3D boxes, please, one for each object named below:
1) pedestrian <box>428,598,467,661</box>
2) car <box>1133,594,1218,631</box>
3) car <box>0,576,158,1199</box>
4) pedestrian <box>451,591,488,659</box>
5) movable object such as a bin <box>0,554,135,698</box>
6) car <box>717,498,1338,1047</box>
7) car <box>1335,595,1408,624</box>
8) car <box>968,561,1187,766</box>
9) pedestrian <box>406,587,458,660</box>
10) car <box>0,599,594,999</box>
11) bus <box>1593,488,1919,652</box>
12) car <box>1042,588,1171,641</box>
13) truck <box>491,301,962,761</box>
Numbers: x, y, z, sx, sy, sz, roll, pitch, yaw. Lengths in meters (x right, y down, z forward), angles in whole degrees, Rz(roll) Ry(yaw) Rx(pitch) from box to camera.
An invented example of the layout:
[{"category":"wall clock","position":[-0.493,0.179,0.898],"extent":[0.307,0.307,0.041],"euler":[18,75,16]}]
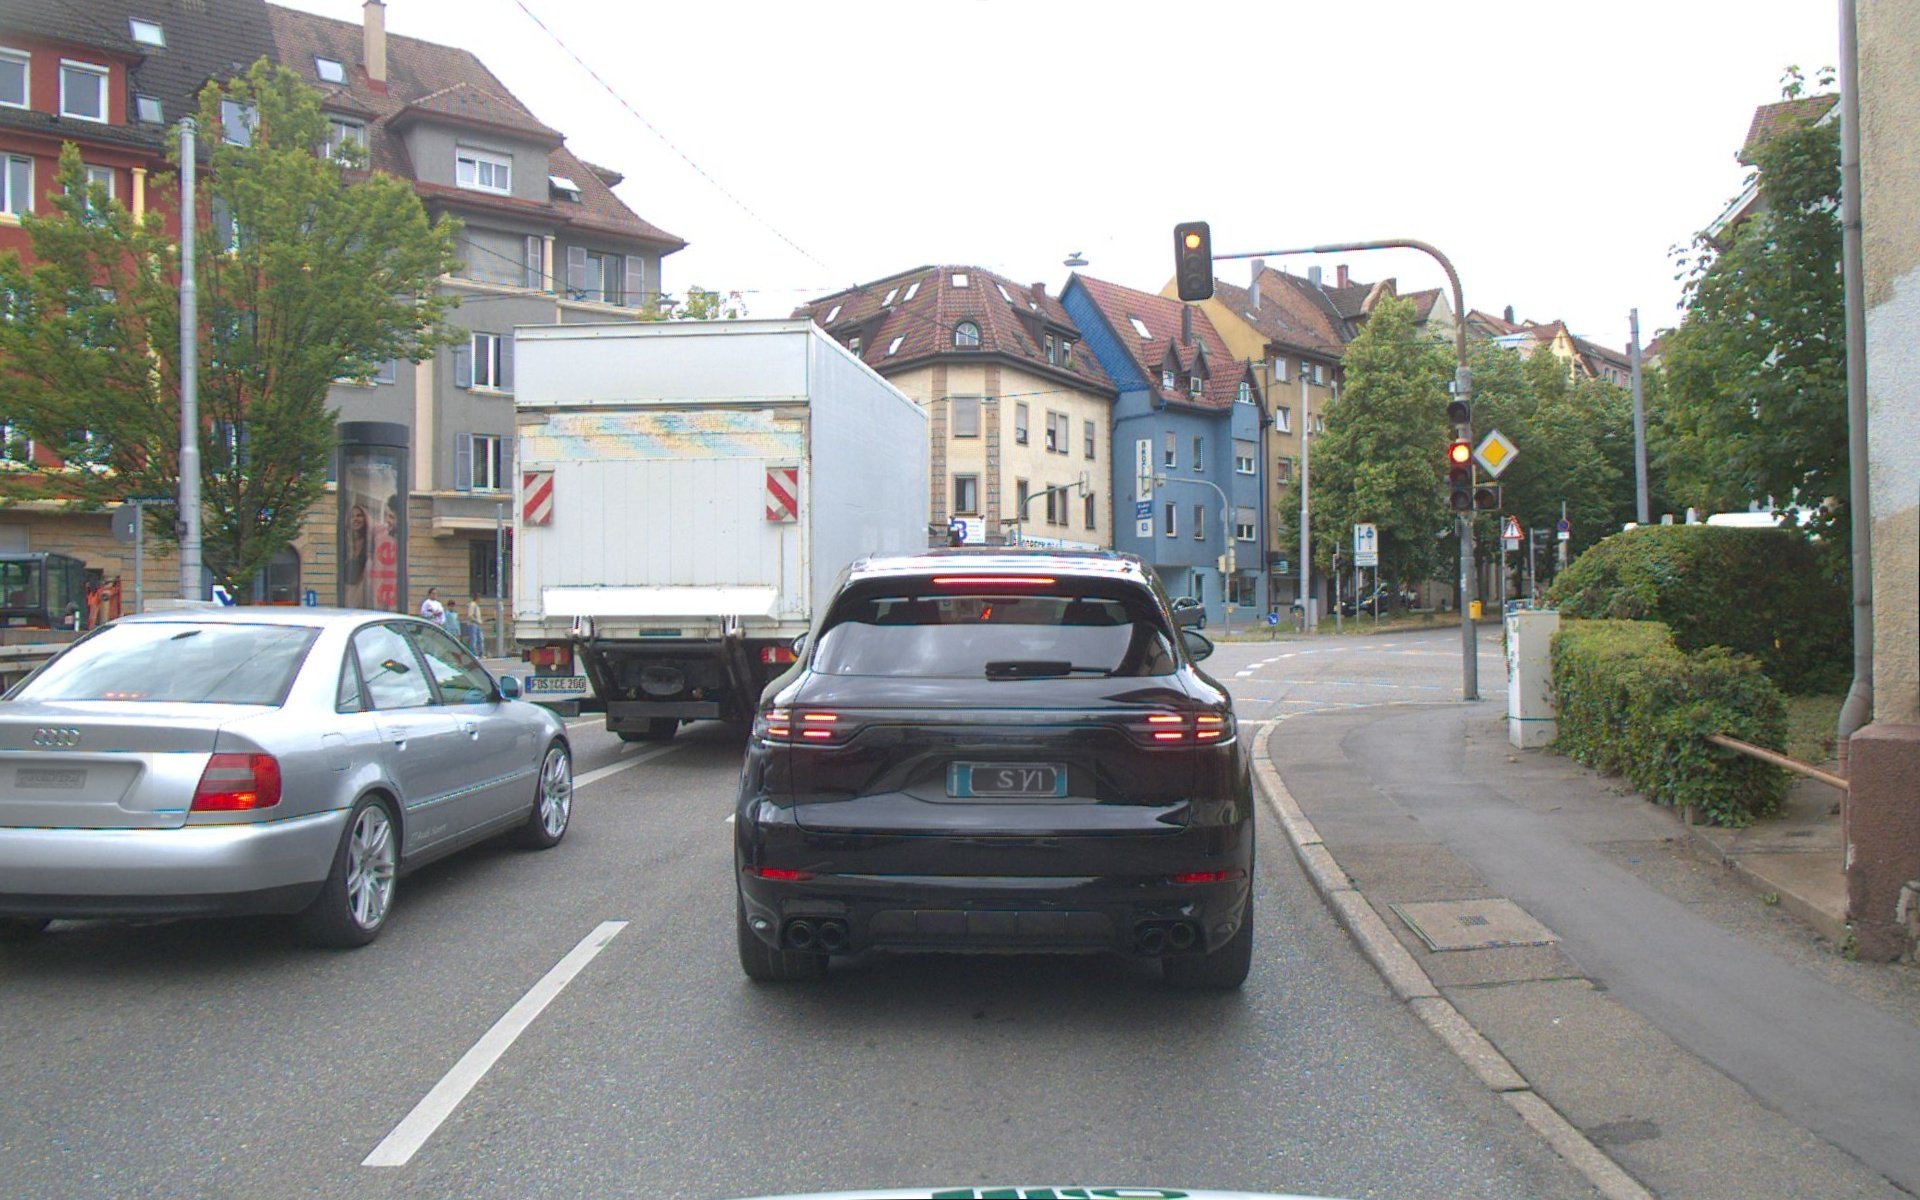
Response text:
[{"category":"pedestrian","position":[-11.403,0.650,36.810],"extent":[0.564,1.361,0.582],"euler":[-1,0,34]},{"category":"car","position":[9.352,0.559,71.556],"extent":[1.690,1.502,4.197],"euler":[0,-2,39]},{"category":"car","position":[-2.702,0.706,1.170],"extent":[1.953,1.454,4.841],"euler":[-1,0,-1]},{"category":"pedestrian","position":[-11.060,0.550,37.297],"extent":[0.648,1.513,0.515],"euler":[-1,0,-43]},{"category":"movable object such as a bin","position":[-13.945,0.373,25.470],"extent":[1.351,2.049,3.525],"euler":[-1,0,-12]},{"category":"car","position":[0.192,0.565,7.621],"extent":[1.990,1.753,4.499],"euler":[1,0,-1]},{"category":"car","position":[21.423,0.510,85.955],"extent":[1.841,1.441,4.673],"euler":[1,0,40]},{"category":"car","position":[1.163,0.507,14.807],"extent":[1.613,1.583,3.586],"euler":[1,0,9]},{"category":"pedestrian","position":[-11.521,0.509,36.084],"extent":[0.776,1.573,0.738],"euler":[-1,0,26]},{"category":"car","position":[-3.127,0.713,7.946],"extent":[1.594,1.389,4.130],"euler":[-1,0,3]},{"category":"bus","position":[19.119,-0.578,33.418],"extent":[3.134,3.150,11.987],"euler":[-1,-1,-37]},{"category":"car","position":[4.696,0.456,53.351],"extent":[1.979,1.556,3.946],"euler":[1,1,-38]},{"category":"truck","position":[-1.870,-0.550,17.302],"extent":[2.667,3.606,8.428],"euler":[-1,0,8]}]
